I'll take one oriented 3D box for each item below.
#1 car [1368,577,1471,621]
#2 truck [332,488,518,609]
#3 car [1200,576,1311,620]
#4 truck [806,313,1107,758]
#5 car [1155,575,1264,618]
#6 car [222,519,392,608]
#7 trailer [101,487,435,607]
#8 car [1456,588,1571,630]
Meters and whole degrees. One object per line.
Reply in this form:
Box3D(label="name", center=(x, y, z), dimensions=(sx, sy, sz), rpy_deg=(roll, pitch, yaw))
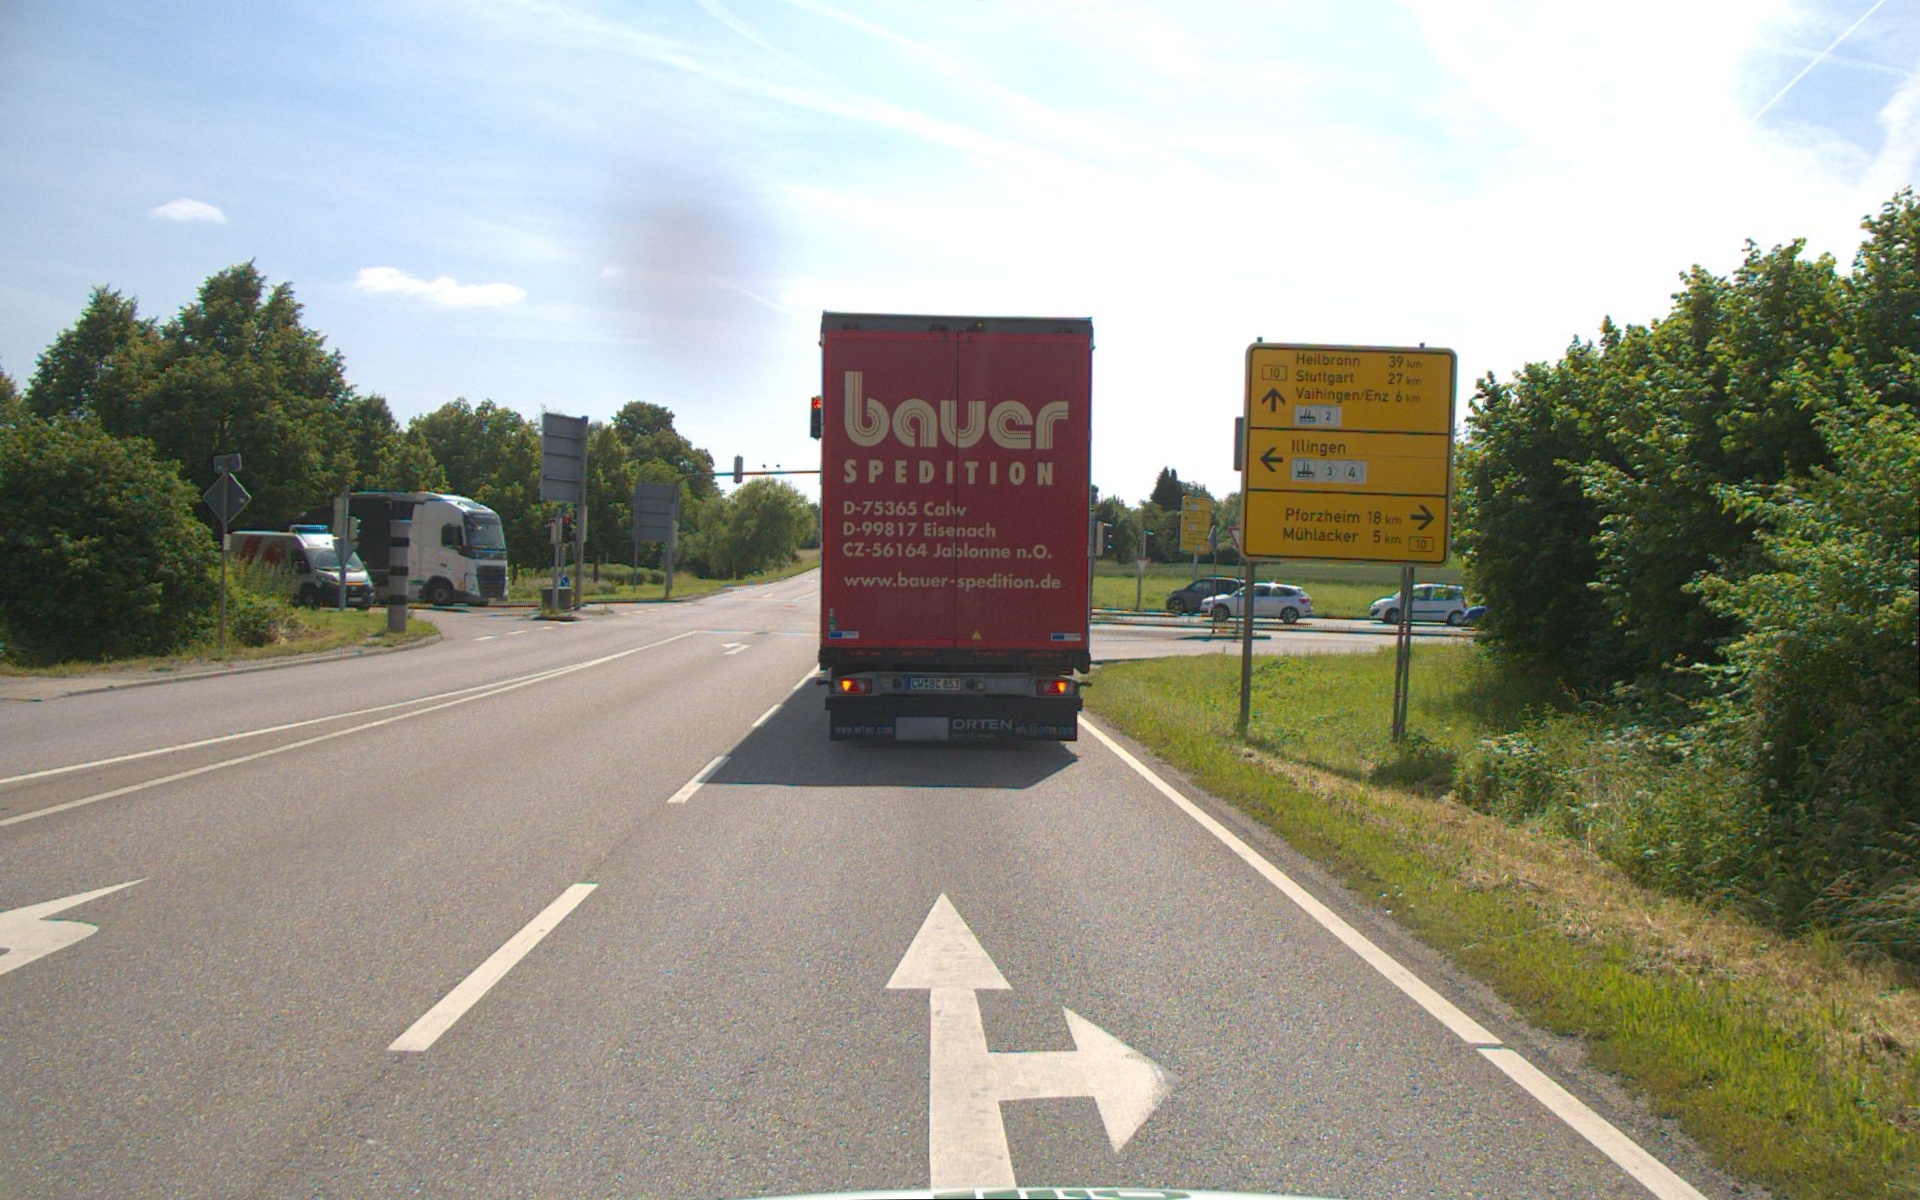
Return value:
Box3D(label="car", center=(18.067, -0.037, 65.194), dimensions=(3.745, 1.662, 1.762), rpy_deg=(1, 0, 10))
Box3D(label="truck", center=(-19.178, -1.869, 59.358), dimensions=(5.702, 4.131, 2.800), rpy_deg=(2, 1, 15))
Box3D(label="car", center=(11.310, -0.086, 63.267), dimensions=(4.012, 1.574, 1.875), rpy_deg=(1, 0, 14))
Box3D(label="truck", center=(-0.358, -0.709, 23.362), dimensions=(2.680, 3.993, 16.619), rpy_deg=(1, 1, -2))
Box3D(label="car", center=(10.380, -0.146, 68.918), dimensions=(4.200, 1.685, 1.694), rpy_deg=(1, 0, 35))
Box3D(label="car", center=(-21.098, -1.212, 53.324), dimensions=(5.861, 2.700, 2.119), rpy_deg=(2, 2, 33))
Box3D(label="trailer", center=(-25.984, -2.052, 61.819), dimensions=(13.405, 4.131, 2.798), rpy_deg=(2, 1, 22))
Box3D(label="car", center=(20.372, 0.318, 61.006), dimensions=(3.766, 1.380, 1.678), rpy_deg=(2, 1, 10))
